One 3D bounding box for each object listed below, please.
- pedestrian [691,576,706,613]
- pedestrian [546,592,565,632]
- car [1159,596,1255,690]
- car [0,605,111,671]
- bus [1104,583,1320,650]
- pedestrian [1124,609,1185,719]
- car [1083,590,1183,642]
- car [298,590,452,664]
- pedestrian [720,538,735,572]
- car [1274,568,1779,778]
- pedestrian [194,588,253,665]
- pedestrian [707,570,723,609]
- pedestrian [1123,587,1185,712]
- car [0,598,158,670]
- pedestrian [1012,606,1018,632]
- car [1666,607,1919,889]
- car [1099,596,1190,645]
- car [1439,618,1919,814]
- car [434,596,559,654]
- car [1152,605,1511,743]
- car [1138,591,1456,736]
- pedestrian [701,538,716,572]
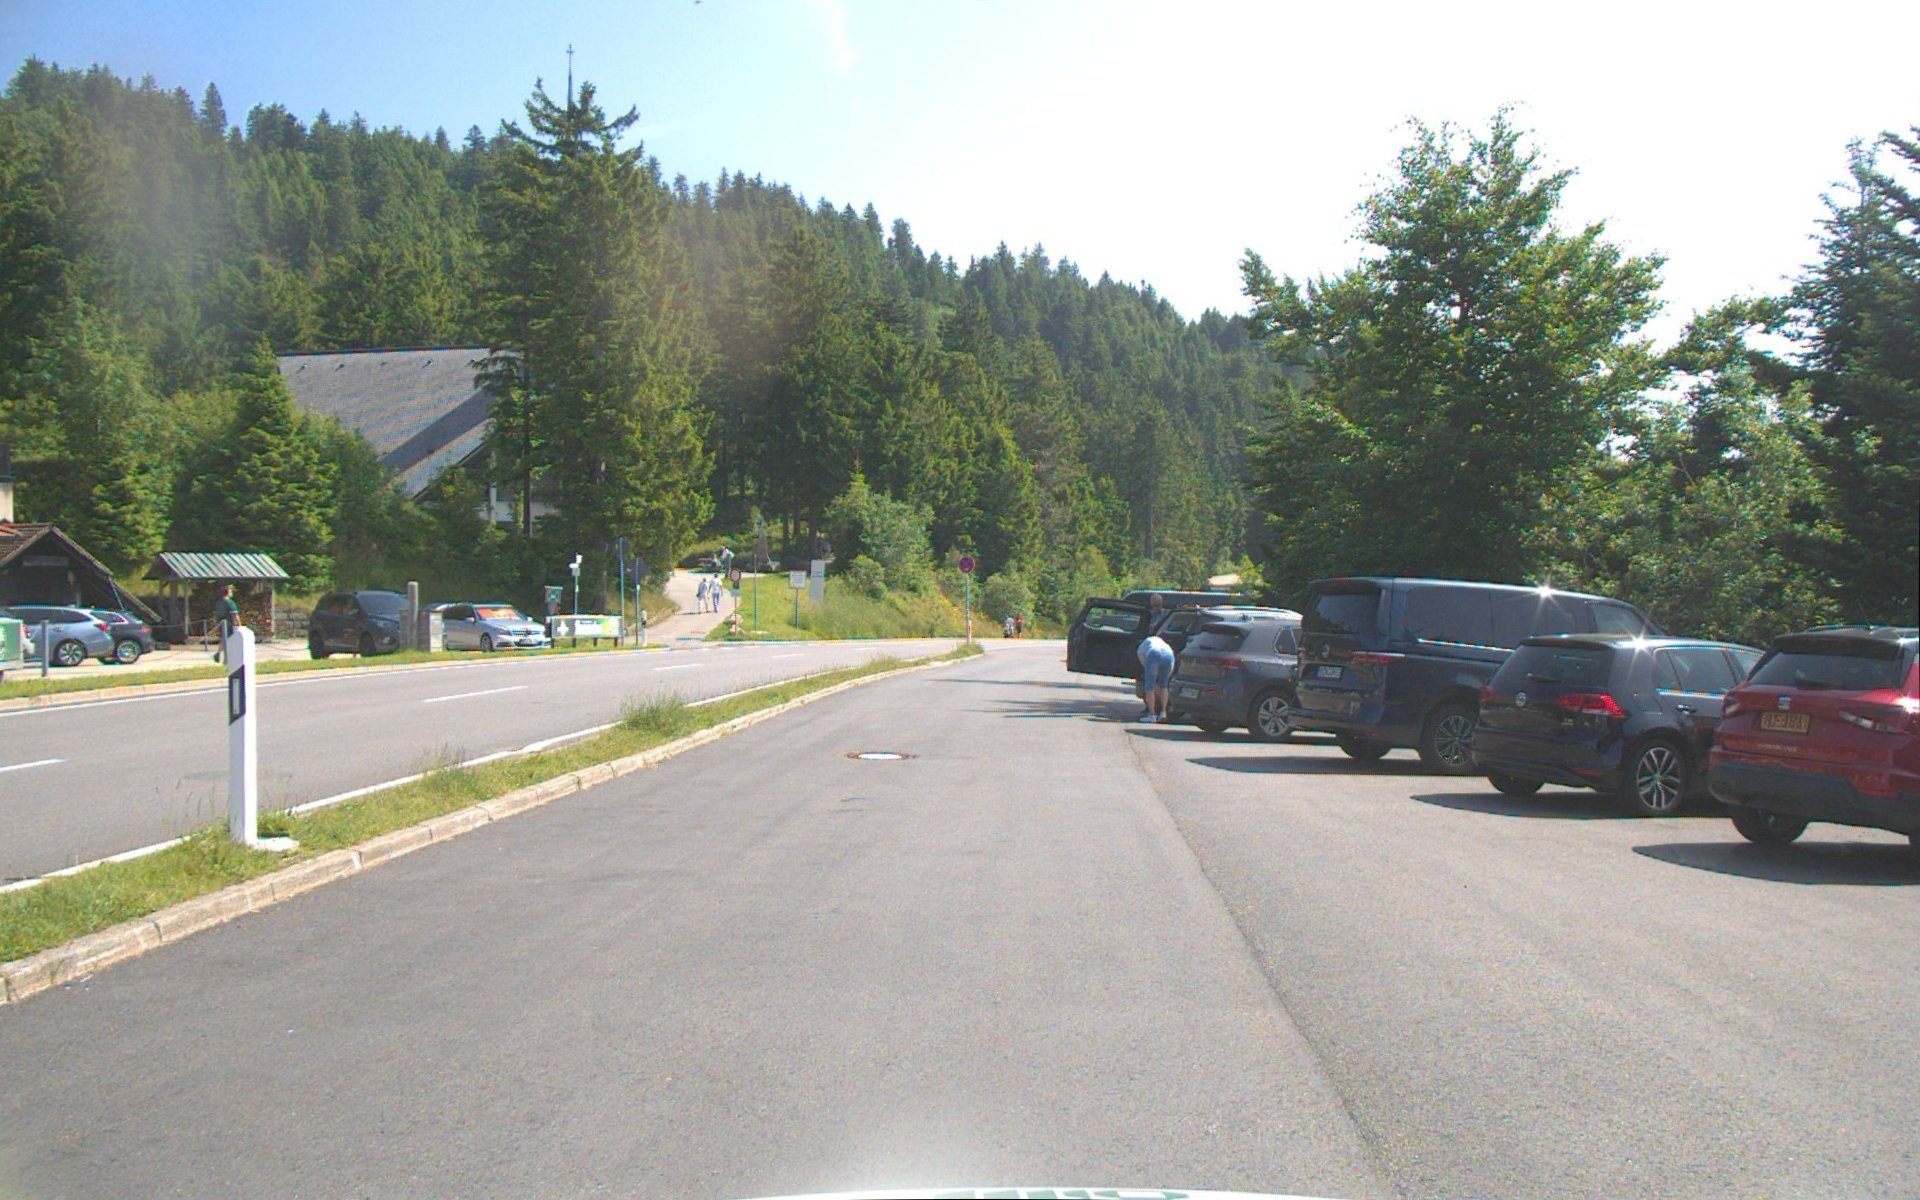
[{"bbox_3d":[-12.173,-0.274,77.033,0.639,1.696,0.643,0,-2,-2],"label":"pedestrian"},{"bbox_3d":[-15.772,0.467,64.501,0.565,1.559,0.553,-1,1,4],"label":"pedestrian"},{"bbox_3d":[5.958,1.004,40.364,1.865,2.006,4.822,4,0,4],"label":"car"},{"bbox_3d":[-22.408,0.923,39.020,3.963,1.444,1.660,-2,0,-40],"label":"car"},{"bbox_3d":[15.234,0.943,100.401,12.596,3.640,2.982,1,2,21],"label":"bus"},{"bbox_3d":[2.614,0.851,22.161,0.757,1.427,0.670,-1,1,10],"label":"pedestrian"},{"bbox_3d":[7.046,0.632,67.577,3.904,1.749,1.869,4,1,4],"label":"car"},{"bbox_3d":[-13.841,0.626,39.026,4.139,1.662,1.777,0,-1,44],"label":"car"},{"bbox_3d":[-14.382,-2.783,102.337,0.799,2.048,0.853,-1,1,-4],"label":"pedestrian"},{"bbox_3d":[5.891,0.744,17.348,4.679,1.912,1.959,3,0,-15],"label":"car"},{"bbox_3d":[-17.272,0.607,38.820,0.877,1.764,0.961,-1,1,4],"label":"pedestrian"},{"bbox_3d":[-11.507,-0.486,77.677,0.639,1.830,0.643,0,0,-2],"label":"pedestrian"},{"bbox_3d":[2.858,0.727,24.392,0.571,1.791,0.628,4,-1,-25],"label":"pedestrian"},{"bbox_3d":[-22.723,0.825,41.910,3.961,1.646,1.972,-2,1,-39],"label":"car"},{"bbox_3d":[3.716,1.276,111.530,0.406,1.777,0.457,-1,1,4],"label":"pedestrian"},{"bbox_3d":[6.949,0.962,11.526,3.951,1.617,1.842,3,0,-34],"label":"car"},{"bbox_3d":[8.337,0.889,74.677,3.903,1.845,1.941,4,2,6],"label":"car"},{"bbox_3d":[6.277,0.978,14.193,3.933,1.439,1.732,3,0,-24],"label":"car"},{"bbox_3d":[-12.631,0.664,44.952,1.729,1.466,3.909,-2,1,-42],"label":"car"},{"bbox_3d":[4.569,0.909,20.468,3.924,1.468,1.831,3,0,-17],"label":"car"},{"bbox_3d":[4.785,0.894,23.535,3.934,1.691,1.986,5,-2,-24],"label":"car"},{"bbox_3d":[-15.348,-2.738,101.052,0.781,2.048,0.939,-1,1,-4],"label":"pedestrian"}]
